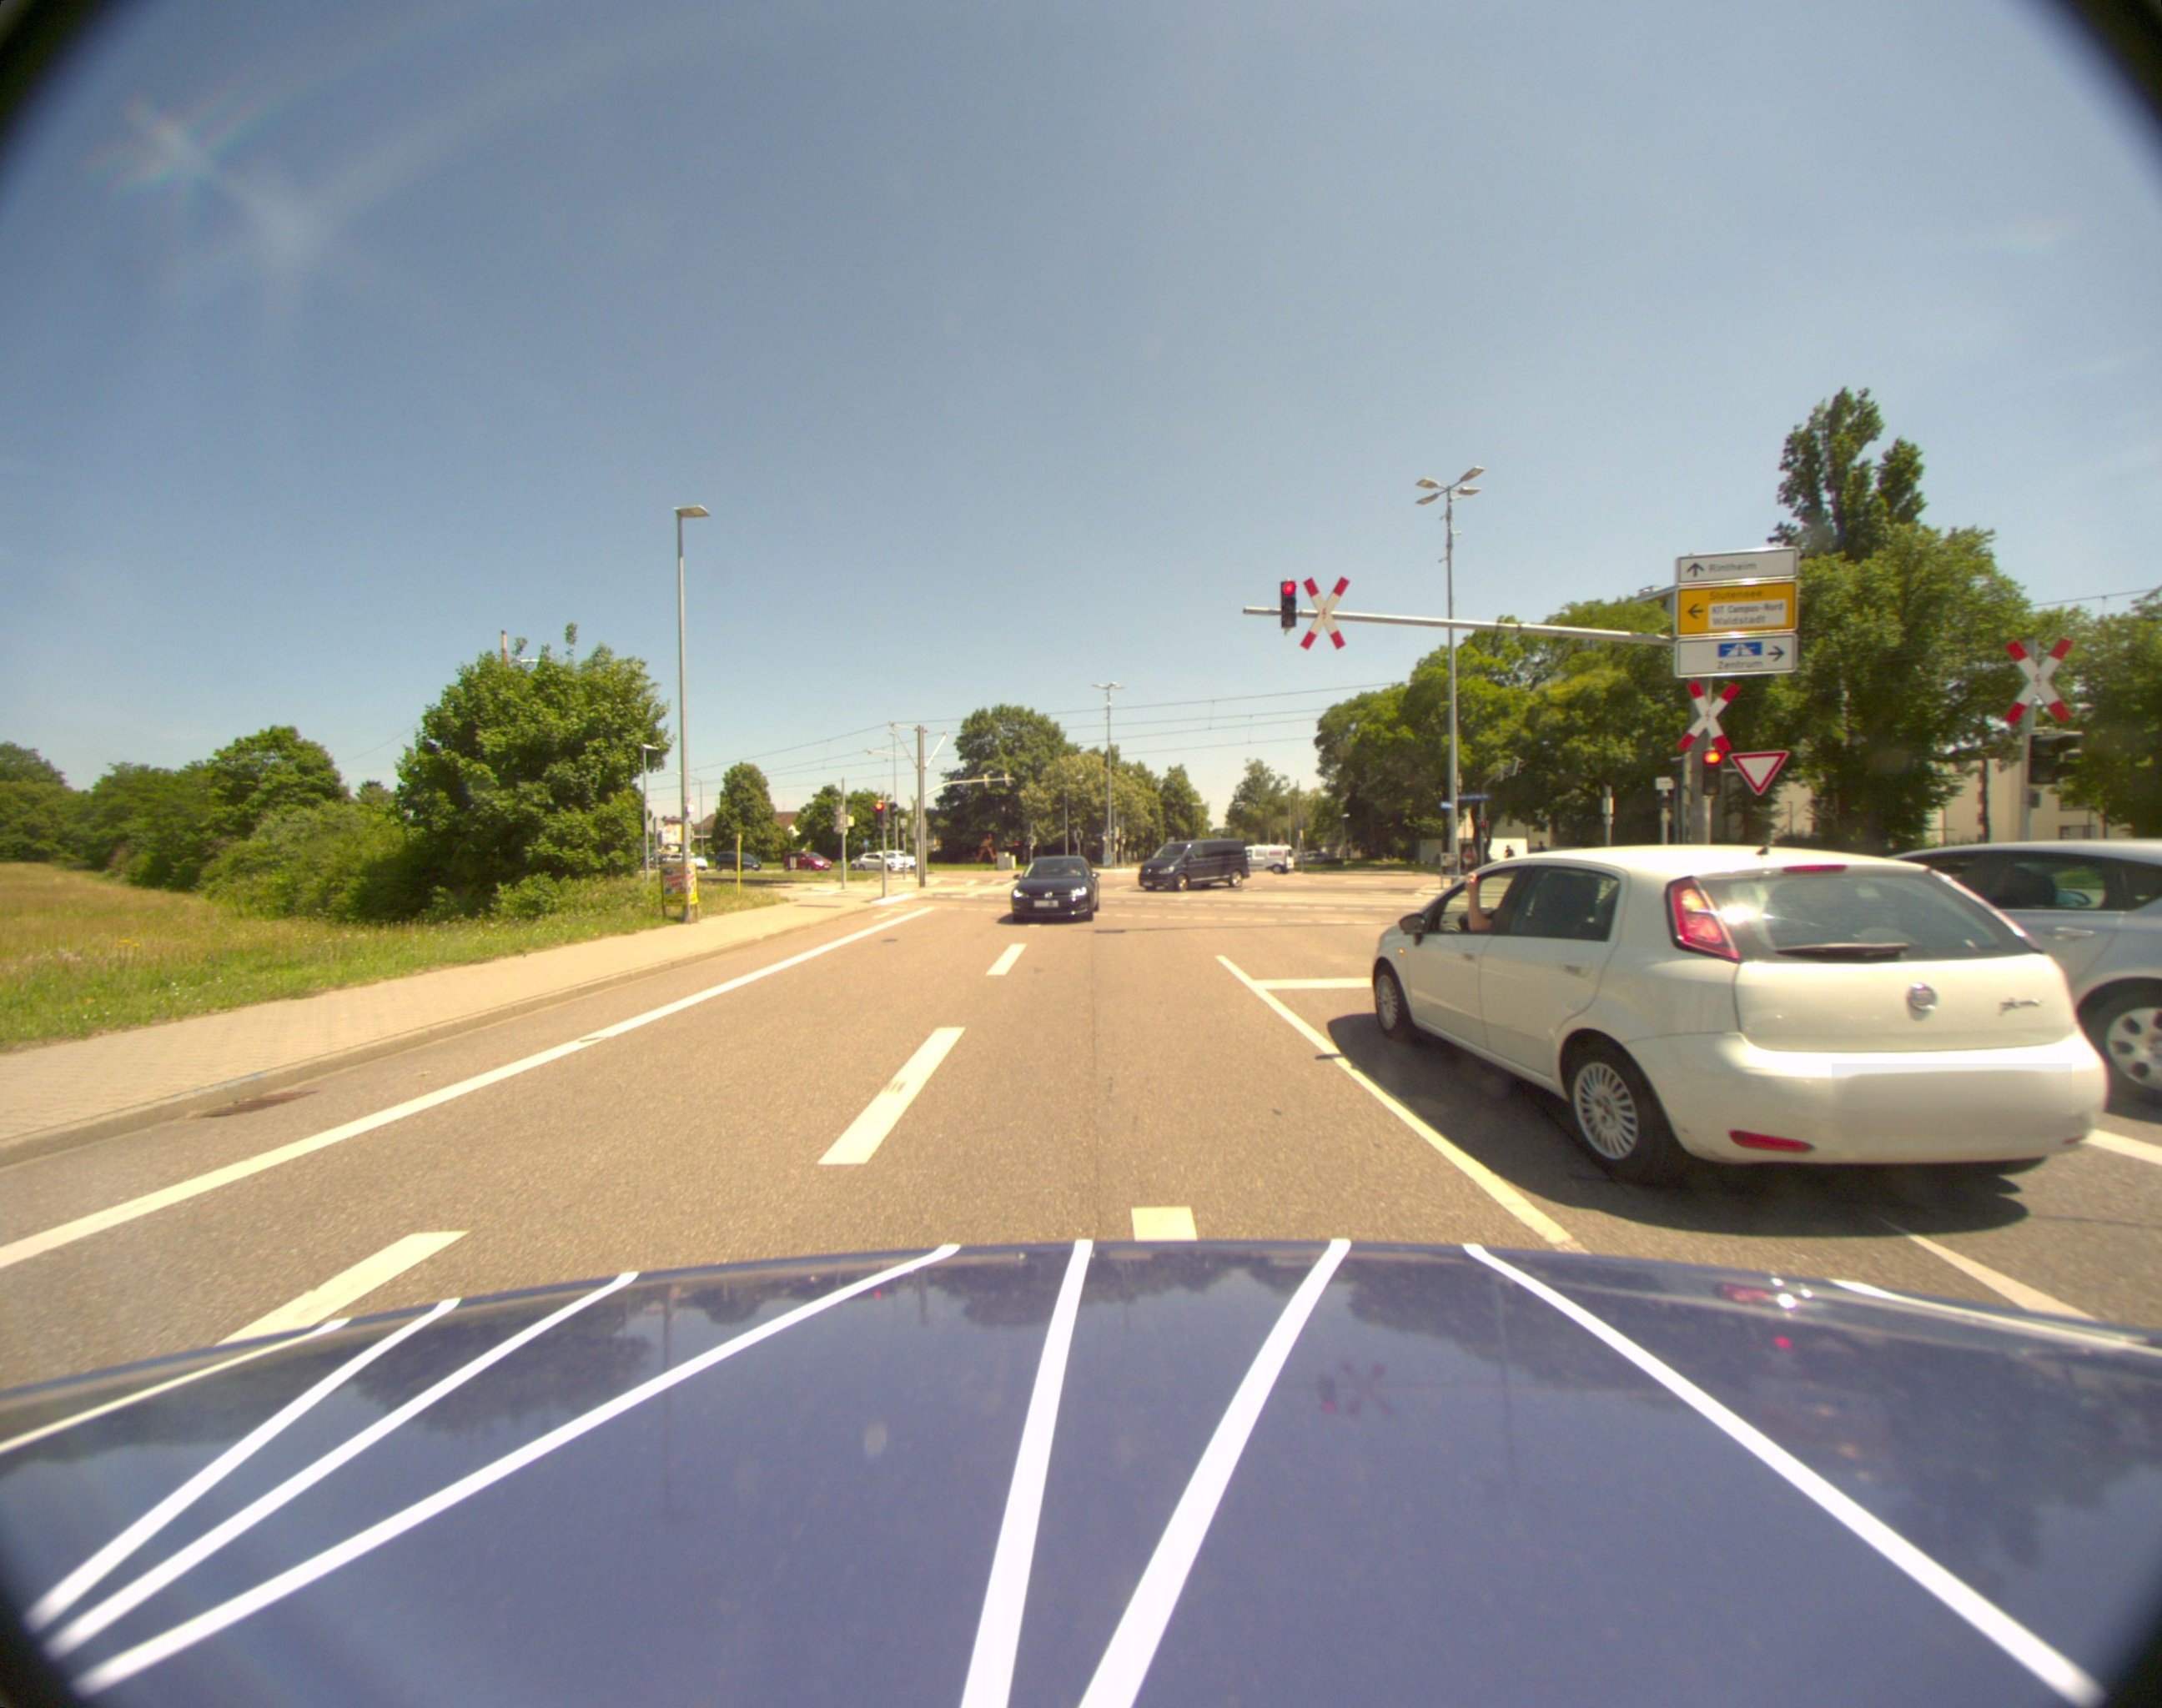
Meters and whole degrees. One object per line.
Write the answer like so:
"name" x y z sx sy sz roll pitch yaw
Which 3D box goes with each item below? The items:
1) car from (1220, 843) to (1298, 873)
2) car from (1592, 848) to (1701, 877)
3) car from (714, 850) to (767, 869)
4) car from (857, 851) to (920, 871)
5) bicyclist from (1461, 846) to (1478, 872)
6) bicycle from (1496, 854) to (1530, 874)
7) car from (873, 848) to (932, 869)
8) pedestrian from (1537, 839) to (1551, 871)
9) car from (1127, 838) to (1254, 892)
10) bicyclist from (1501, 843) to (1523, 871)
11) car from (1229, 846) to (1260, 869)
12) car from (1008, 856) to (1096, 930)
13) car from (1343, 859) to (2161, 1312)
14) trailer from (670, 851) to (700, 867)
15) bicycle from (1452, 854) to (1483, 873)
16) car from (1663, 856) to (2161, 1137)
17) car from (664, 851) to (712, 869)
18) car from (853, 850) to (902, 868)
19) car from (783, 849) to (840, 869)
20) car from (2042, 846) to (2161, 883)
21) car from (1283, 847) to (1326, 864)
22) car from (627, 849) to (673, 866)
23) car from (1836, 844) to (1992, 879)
"car" 11.187 0.256 47.804 4.380 1.782 1.901 0 -2 31
"car" 28.168 0.417 38.019 4.203 1.416 1.853 0 0 32
"car" -28.415 0.437 63.407 4.399 1.567 1.879 0 0 32
"car" -14.034 0.501 55.312 4.399 1.380 1.879 0 0 32
"bicyclist" 22.822 0.275 44.618 0.616 1.460 0.628 -2 3 -13
"bicycle" 24.925 0.564 43.866 0.616 1.057 1.803 -2 3 -13
"car" -13.798 0.382 58.772 4.399 1.567 1.879 0 0 32
"pedestrian" 26.786 0.038 43.984 0.677 1.825 0.609 0 2 30
"car" 4.356 0.393 29.872 4.854 1.920 1.938 -1 1 -33
"bicyclist" 24.899 0.159 43.929 0.648 1.536 0.908 -2 3 -13
"car" 12.866 0.280 59.991 1.809 1.707 4.344 0 0 3
"car" -0.543 0.804 17.513 1.708 1.396 4.054 -2 1 2
"car" 3.155 0.805 4.560 1.772 1.429 3.960 -2 0 0
"trailer" -40.778 0.529 78.224 2.930 1.645 1.412 0 0 31
"bicycle" 22.776 0.551 44.830 0.616 1.057 1.803 -2 1 -13
"car" 6.663 0.764 5.383 1.795 1.447 4.413 0 0 2
"car" -34.612 0.517 66.918 4.399 1.567 1.734 0 0 32
"car" -17.394 0.401 64.867 3.887 1.496 1.735 0 0 29
"car" -21.040 0.393 59.323 4.399 1.567 1.879 0 0 32
"car" 37.544 0.377 26.917 3.989 1.279 1.751 0 -2 30
"car" 20.248 0.133 68.807 3.488 1.419 1.586 -1 -2 6
"car" -40.196 0.362 70.791 4.399 1.567 1.879 0 0 32
"car" 35.894 0.318 32.905 4.203 1.416 1.853 0 0 32
